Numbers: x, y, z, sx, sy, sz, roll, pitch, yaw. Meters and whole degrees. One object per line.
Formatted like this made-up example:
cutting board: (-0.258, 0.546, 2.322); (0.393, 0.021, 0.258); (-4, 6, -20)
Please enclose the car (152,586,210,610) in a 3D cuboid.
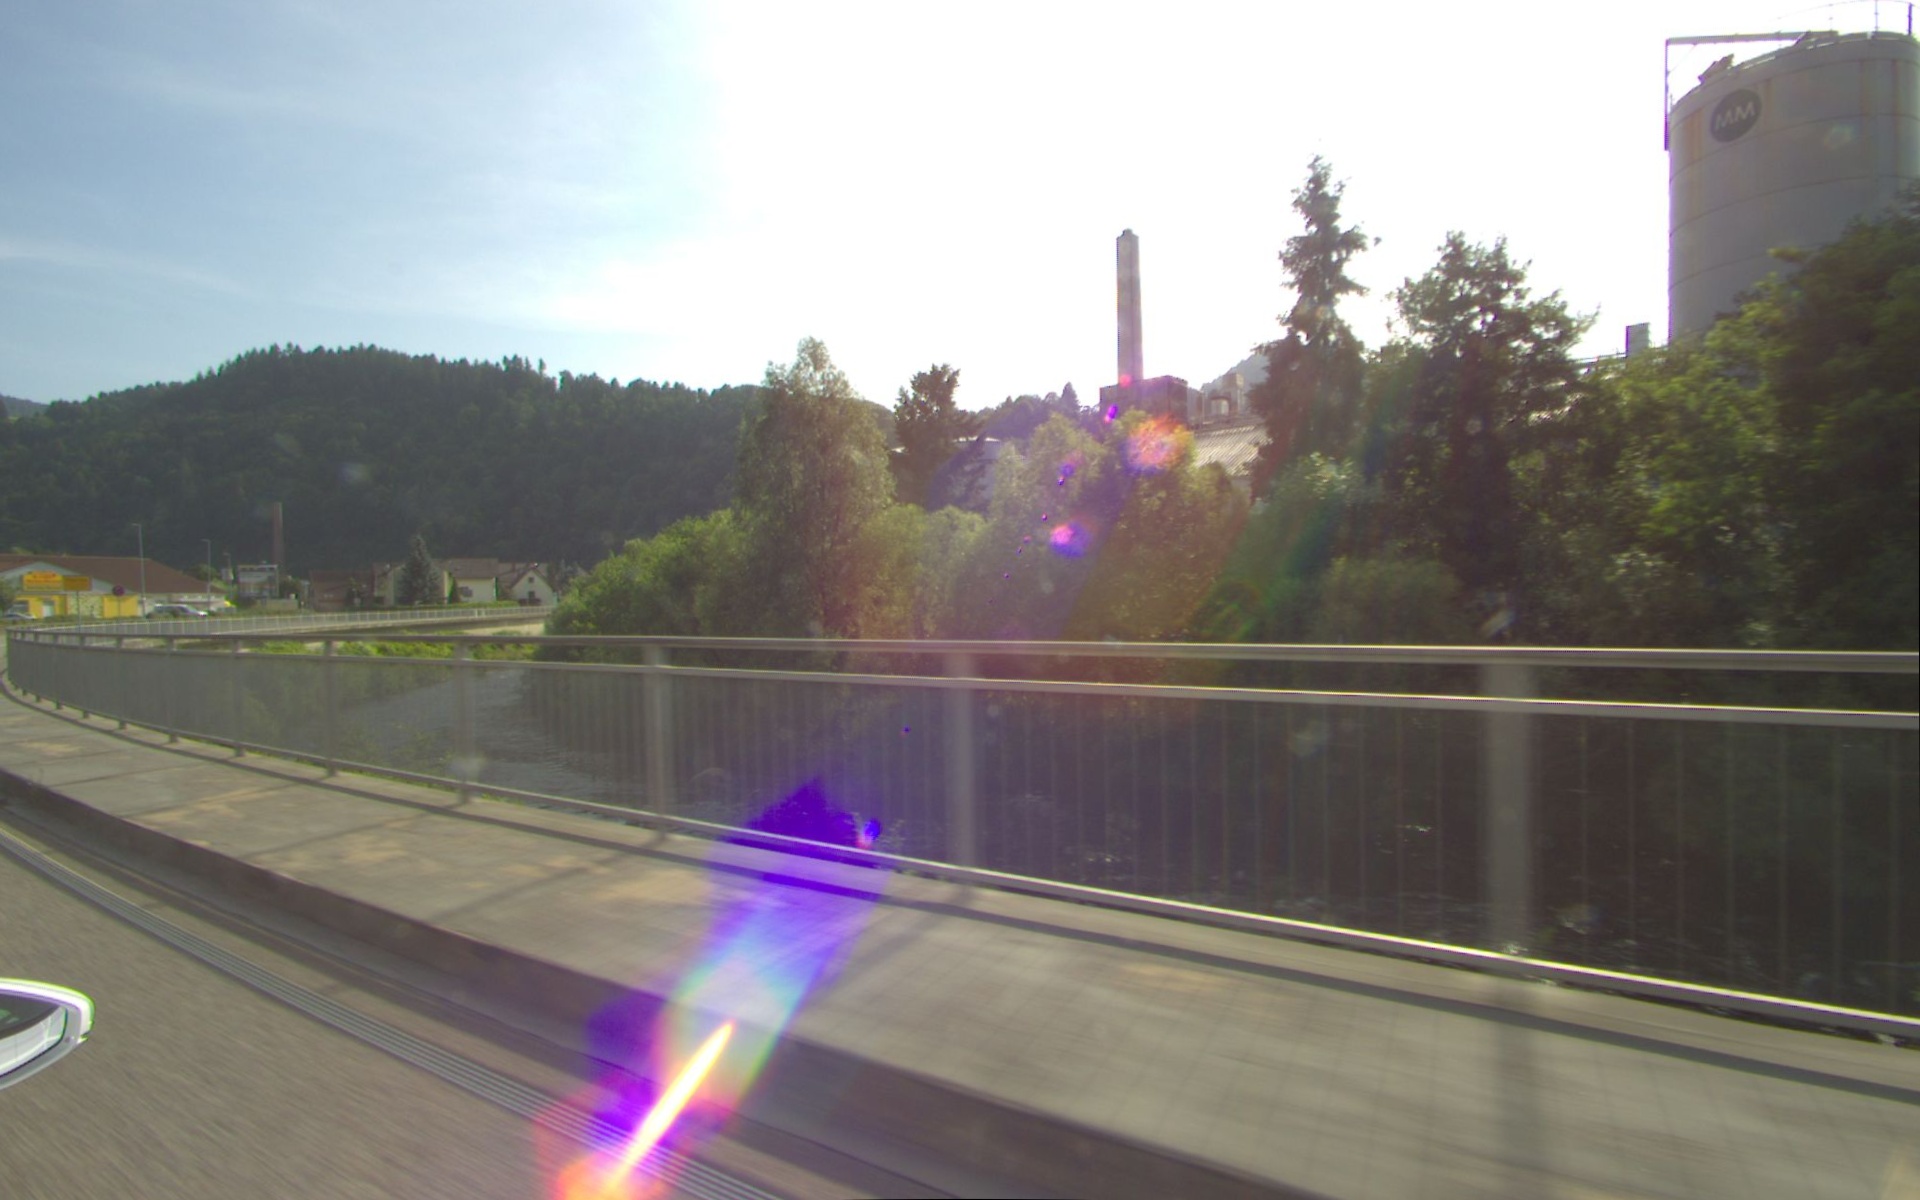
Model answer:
car: (-75.093, -0.165, 96.577); (3.929, 2.037, 1.999); (1, -4, -17)
